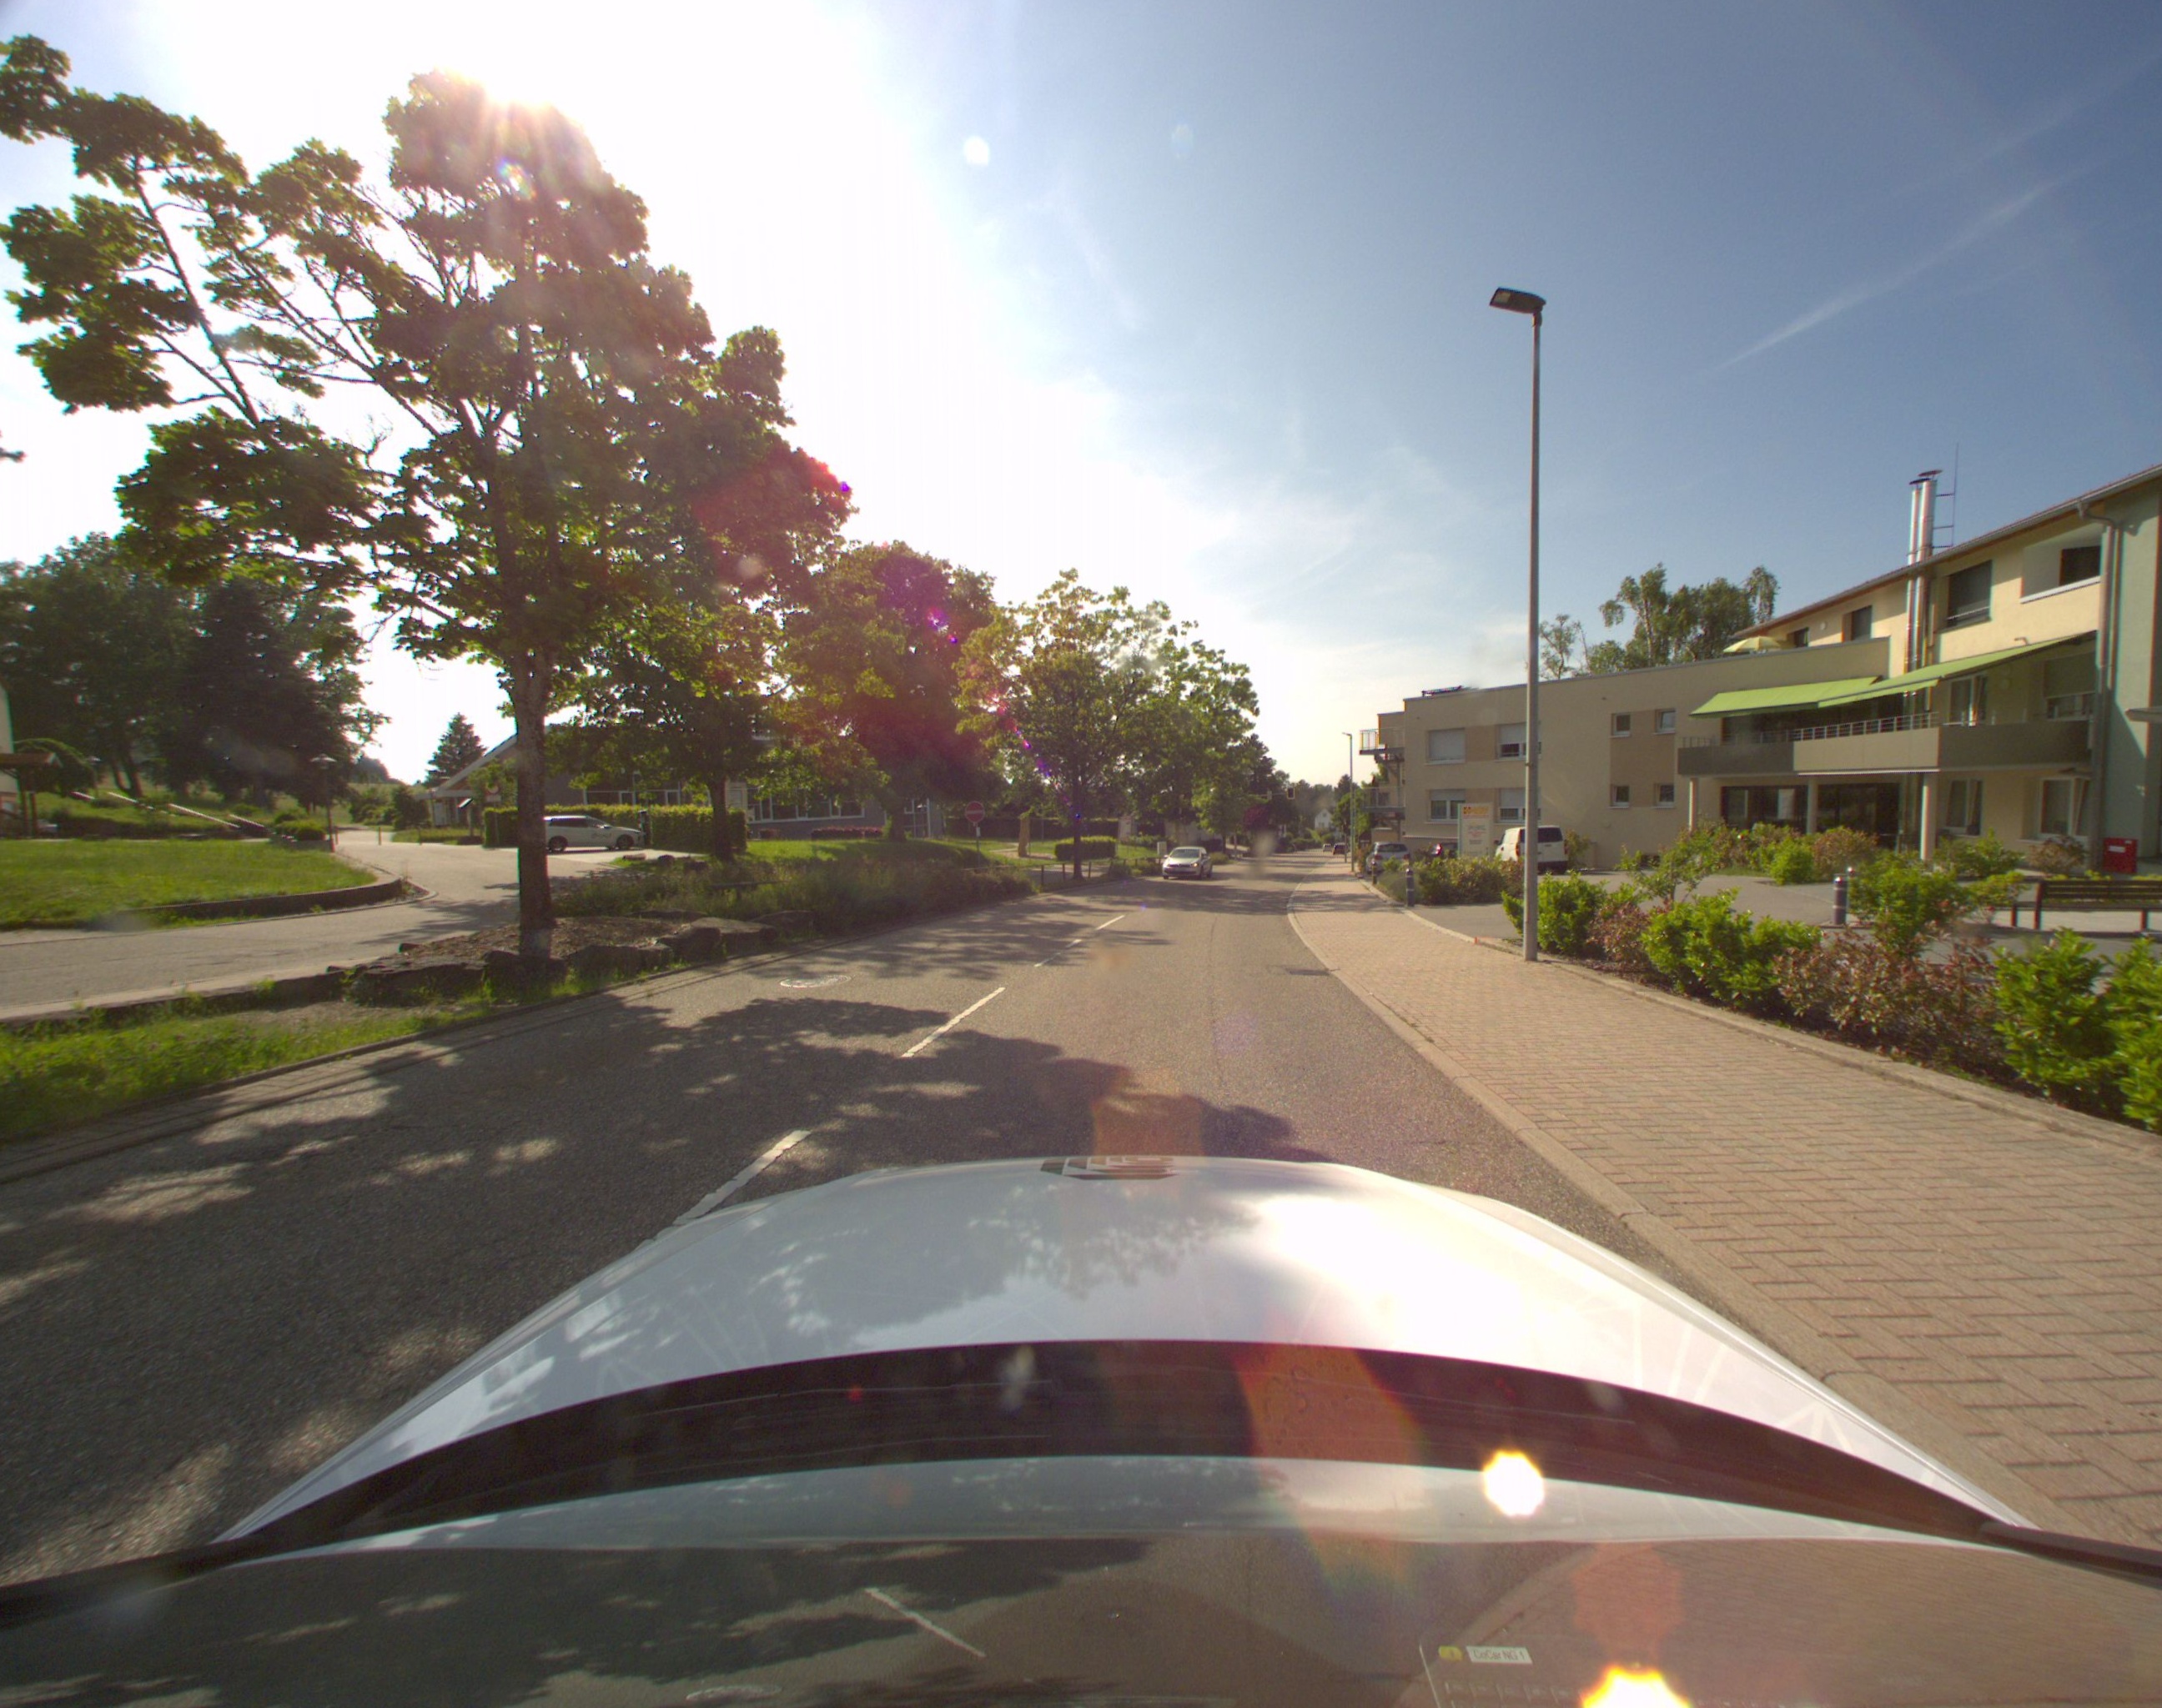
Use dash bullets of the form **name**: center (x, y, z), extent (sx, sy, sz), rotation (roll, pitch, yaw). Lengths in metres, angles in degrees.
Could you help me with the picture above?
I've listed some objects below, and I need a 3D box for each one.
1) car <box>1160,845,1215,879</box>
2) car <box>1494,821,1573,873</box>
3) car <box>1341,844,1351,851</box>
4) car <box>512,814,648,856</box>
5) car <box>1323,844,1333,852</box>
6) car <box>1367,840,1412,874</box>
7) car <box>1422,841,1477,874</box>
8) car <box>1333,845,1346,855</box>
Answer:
- **car**: center (4.970, 0.320, 37.546), extent (1.715, 1.443, 4.085), rotation (1, 1, 19)
- **car**: center (18.287, -0.274, 33.117), extent (1.789, 1.935, 4.755), rotation (-1, 0, 16)
- **car**: center (52.417, -1.316, 160.918), extent (1.695, 1.427, 4.024), rotation (-1, 0, 16)
- **car**: center (-22.244, -0.920, 36.327), extent (1.975, 1.533, 4.761), rotation (6, 7, 41)
- **car**: center (50.269, -1.204, 165.648), extent (1.694, 1.427, 4.027), rotation (-1, 0, 20)
- **car**: center (14.588, 0.122, 38.668), extent (1.695, 1.535, 4.024), rotation (-1, 0, 16)
- **car**: center (16.625, 0.127, 36.861), extent (1.695, 1.427, 4.024), rotation (-1, 0, 16)
- **car**: center (38.208, -0.605, 120.553), extent (1.695, 1.427, 4.024), rotation (-1, 0, 16)
